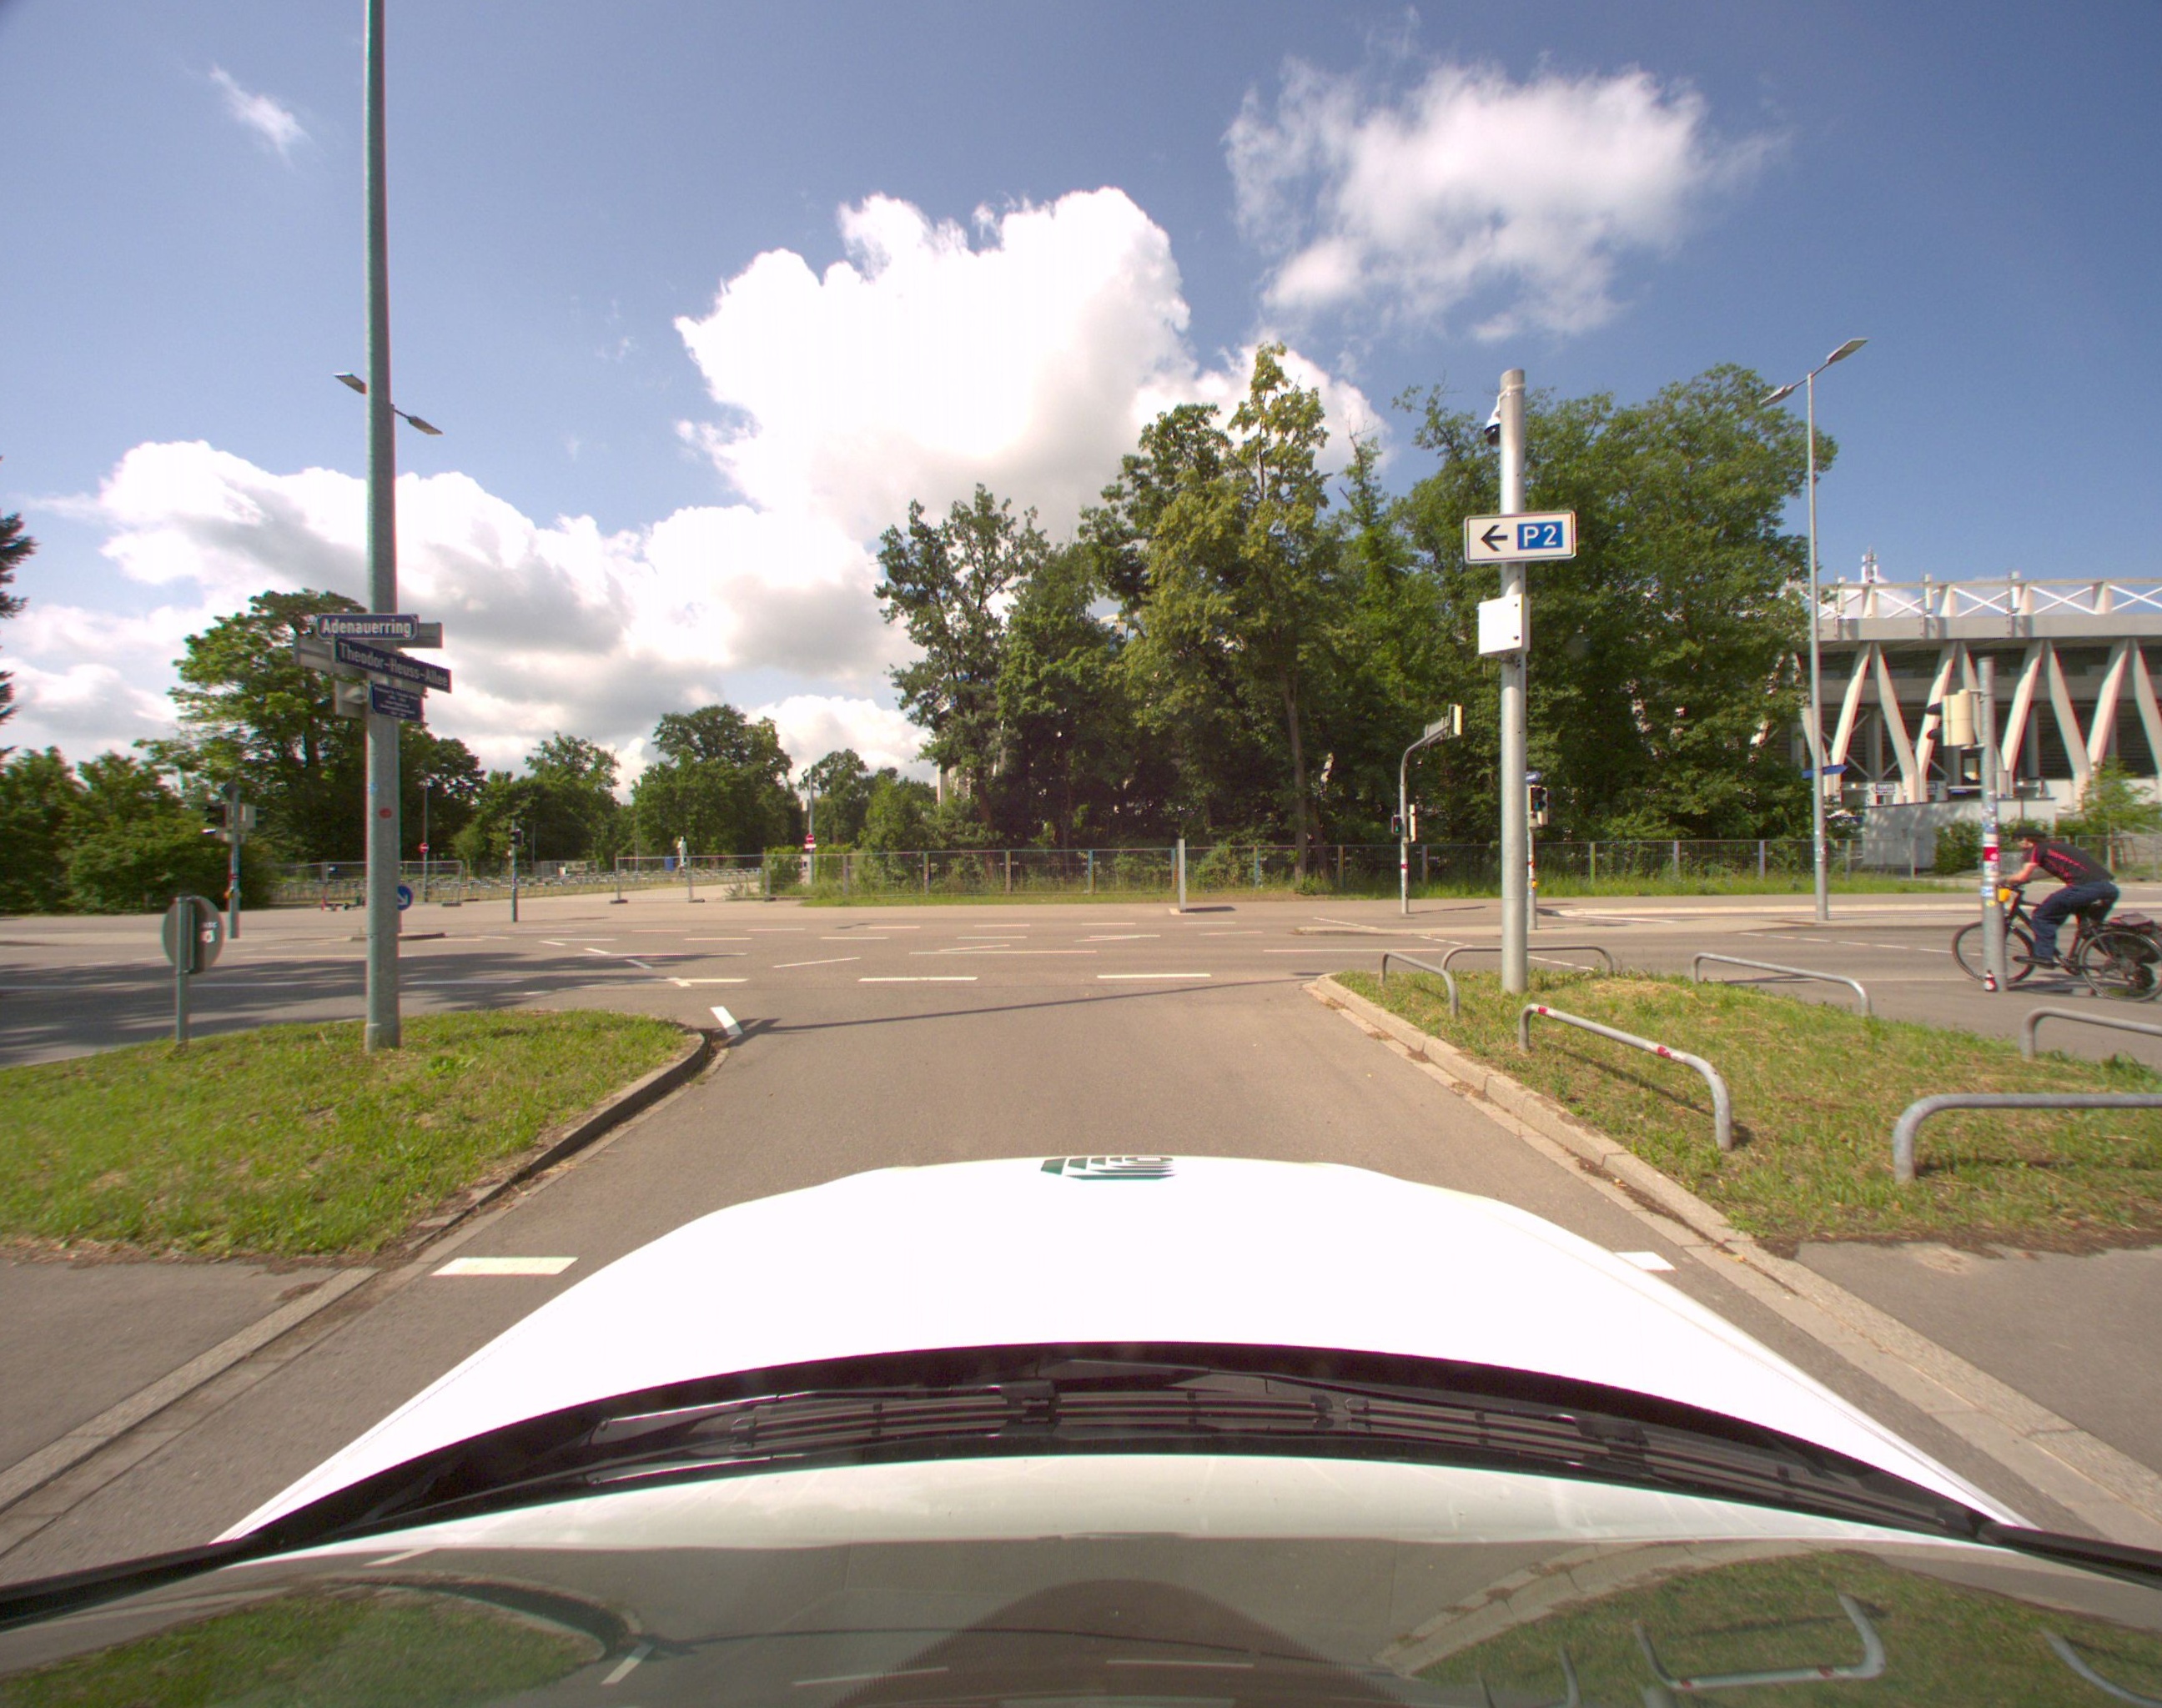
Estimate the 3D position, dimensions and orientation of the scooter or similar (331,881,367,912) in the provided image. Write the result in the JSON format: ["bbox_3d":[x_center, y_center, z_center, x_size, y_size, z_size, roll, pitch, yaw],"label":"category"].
[{"bbox_3d":[-31.198,1.781,34.727,0.405,1.252,1.310,-1,0,-3],"label":"scooter or similar"}]

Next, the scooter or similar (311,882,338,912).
[{"bbox_3d":[-31.197,1.772,33.579,1.295,1.200,0.410,-1,0,28],"label":"scooter or similar"}]

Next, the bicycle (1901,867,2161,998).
[{"bbox_3d":[10.074,0.762,8.576,0.878,1.206,1.894,-1,-2,-4],"label":"bicycle"}]

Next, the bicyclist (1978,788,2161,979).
[{"bbox_3d":[10.071,0.283,8.216,0.883,1.798,0.977,-1,-2,-5],"label":"bicyclist"}]
